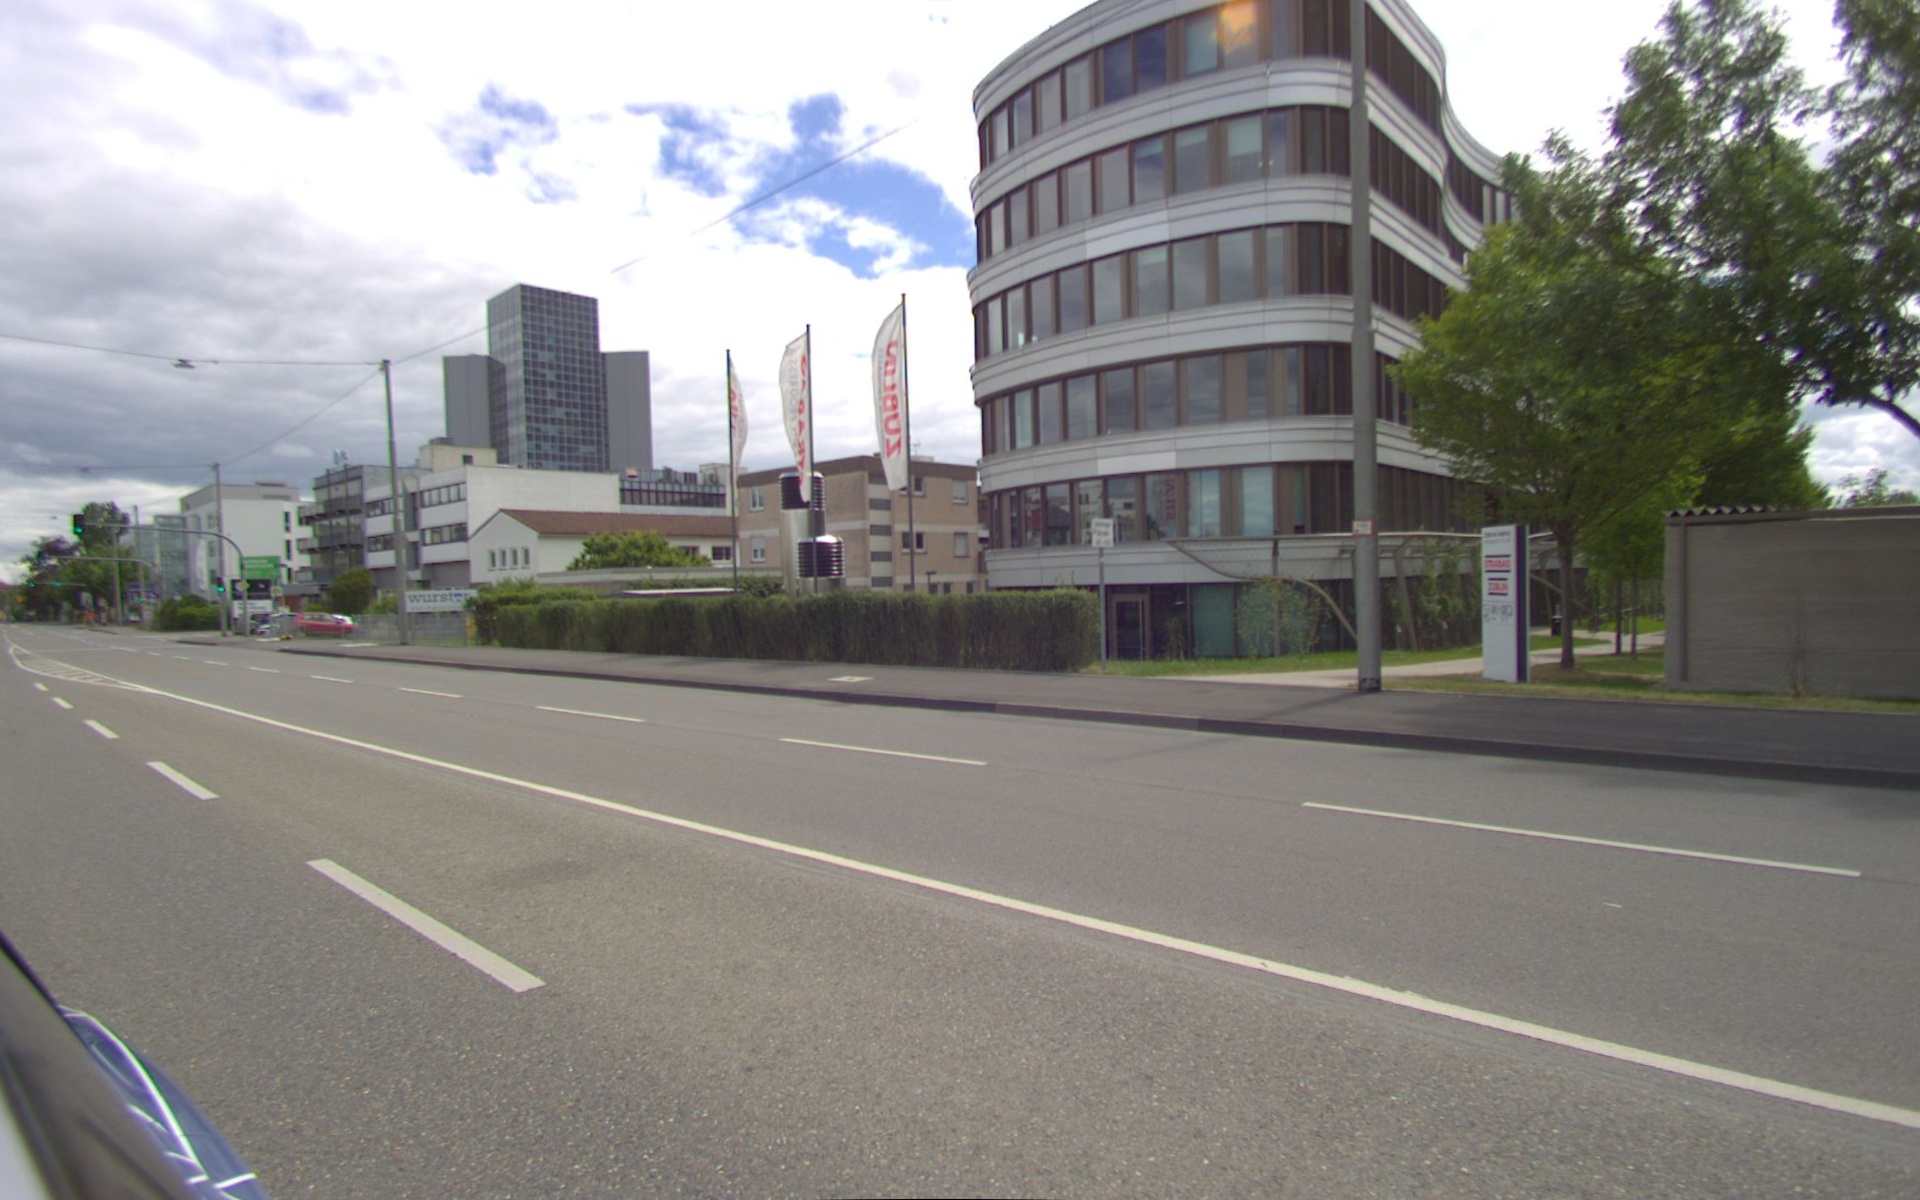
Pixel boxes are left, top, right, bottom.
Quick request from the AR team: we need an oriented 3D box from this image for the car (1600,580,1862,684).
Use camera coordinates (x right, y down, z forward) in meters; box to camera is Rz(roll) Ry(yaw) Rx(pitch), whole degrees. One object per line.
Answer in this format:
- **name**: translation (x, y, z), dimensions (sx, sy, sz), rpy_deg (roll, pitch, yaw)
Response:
- **car**: translation (15.306, 0.545, 20.340), dimensions (3.993, 1.807, 1.846), rpy_deg (2, 2, 36)

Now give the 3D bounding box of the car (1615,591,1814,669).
- **car**: translation (19.432, 0.696, 26.145), dimensions (3.998, 1.785, 1.823), rpy_deg (1, 2, 41)

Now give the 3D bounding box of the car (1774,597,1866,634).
- **car**: translation (49.587, 0.861, 58.426), dimensions (3.998, 2.029, 1.973), rpy_deg (-1, 1, 41)

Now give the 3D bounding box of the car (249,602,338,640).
- **car**: translation (-38.764, 1.213, 58.896), dimensions (1.904, 2.029, 3.944), rpy_deg (-1, 1, 43)

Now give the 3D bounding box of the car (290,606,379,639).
- **car**: translation (-34.402, 1.228, 55.739), dimensions (1.834, 1.623, 3.754), rpy_deg (-2, 0, 40)

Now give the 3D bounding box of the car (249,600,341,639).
- **car**: translation (-37.361, 1.067, 56.918), dimensions (1.920, 2.029, 3.944), rpy_deg (-1, 1, 42)

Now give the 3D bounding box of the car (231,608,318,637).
- **car**: translation (-40.759, 1.330, 60.219), dimensions (1.823, 1.342, 3.946), rpy_deg (-2, 2, 42)
